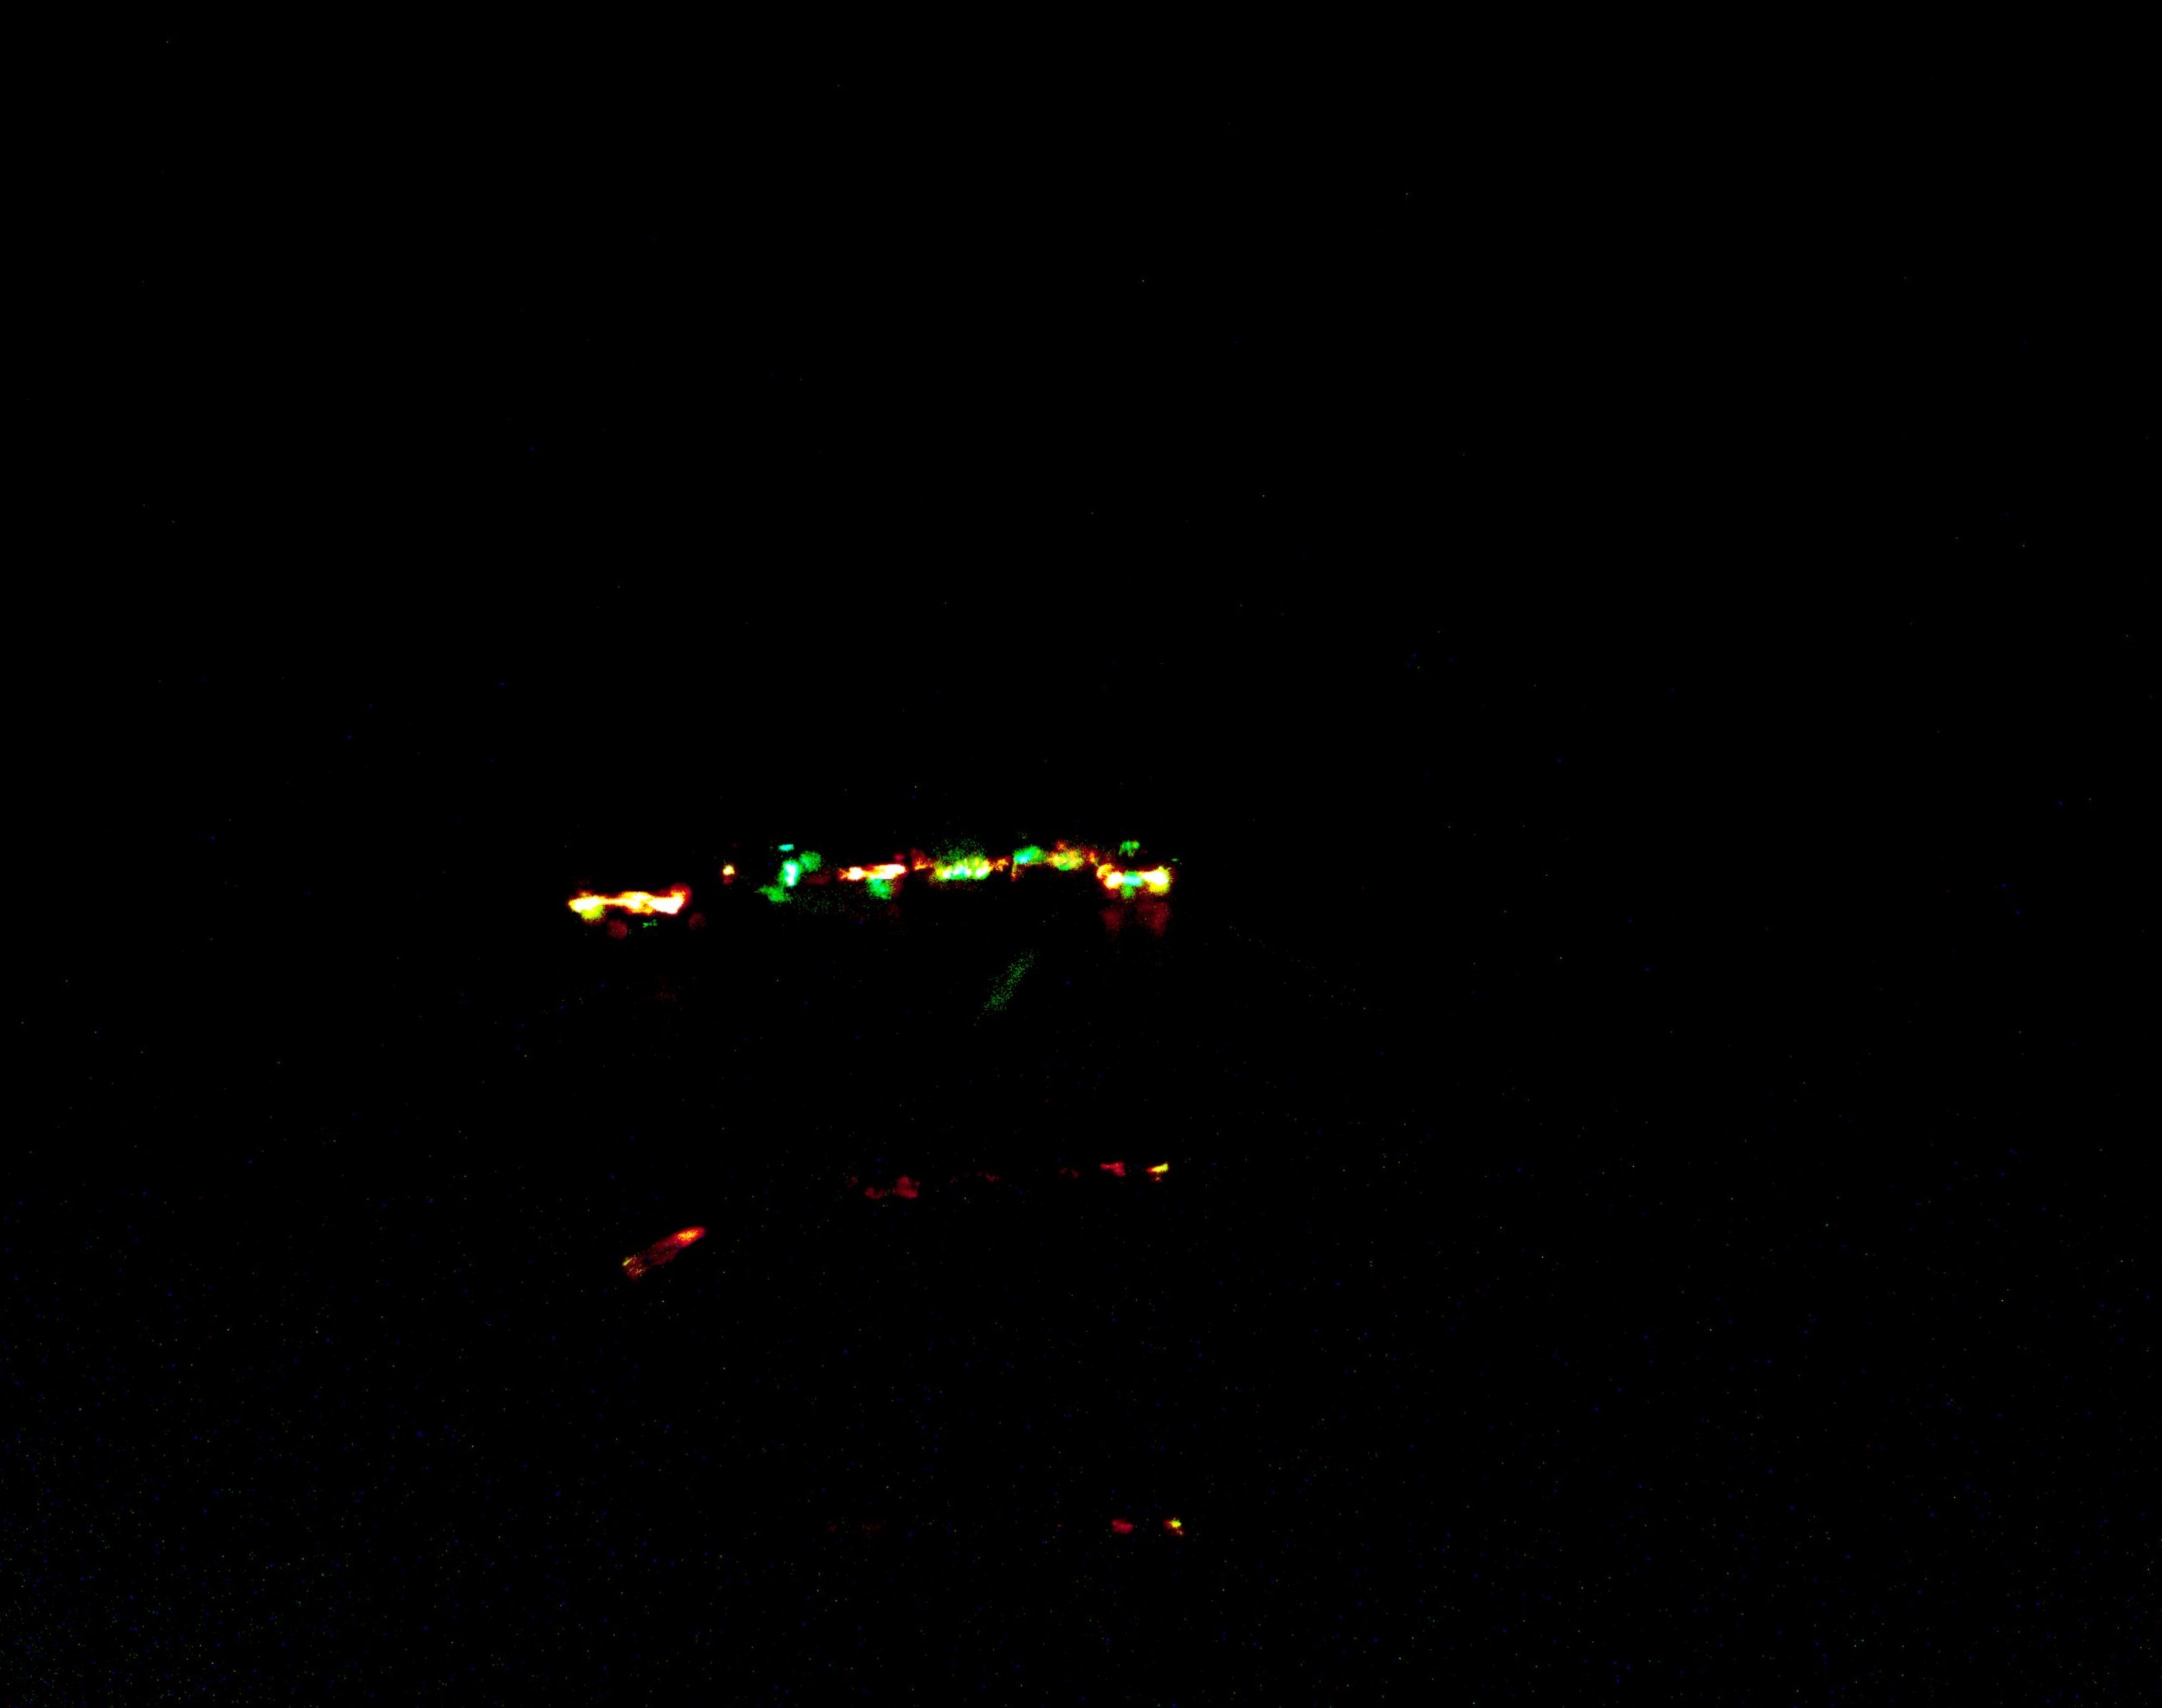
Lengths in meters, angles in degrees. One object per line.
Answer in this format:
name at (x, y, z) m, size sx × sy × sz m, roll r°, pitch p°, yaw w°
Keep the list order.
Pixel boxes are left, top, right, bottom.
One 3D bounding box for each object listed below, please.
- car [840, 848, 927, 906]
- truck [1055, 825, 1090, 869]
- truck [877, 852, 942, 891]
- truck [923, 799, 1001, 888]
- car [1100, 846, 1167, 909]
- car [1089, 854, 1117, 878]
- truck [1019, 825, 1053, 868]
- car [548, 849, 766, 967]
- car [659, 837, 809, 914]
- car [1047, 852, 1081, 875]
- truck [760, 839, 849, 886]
car at (-6.407, 0.704, 26.977) m, size 2.035 × 1.761 × 4.509 m, roll 0°, pitch 0°, yaw -4°
truck at (-1.066, -0.849, 101.914) m, size 4.150 × 5.215 × 9.948 m, roll 0°, pitch 0°, yaw -1°
truck at (-10.276, 1.029, 49.392) m, size 2.849 × 2.201 × 5.855 m, roll 0°, pitch 0°, yaw -1°
truck at (-6.847, -0.566, 48.591) m, size 3.648 × 4.737 × 9.842 m, roll 0°, pitch 0°, yaw -3°
car at (1.533, 0.664, 24.779) m, size 1.871 × 1.762 × 4.002 m, roll 0°, pitch 0°, yaw 2°
car at (1.673, 0.889, 61.711) m, size 1.986 × 1.704 × 4.460 m, roll 0°, pitch 0°, yaw 1°
truck at (-5.849, -0.969, 108.355) m, size 4.243 × 5.444 × 10.874 m, roll 0°, pitch 0°, yaw -2°
car at (-6.993, 0.771, 13.956) m, size 1.762 × 1.689 × 3.996 m, roll -1°, pitch 1°, yaw -3°
car at (-10.554, 0.581, 25.365) m, size 2.115 × 2.104 × 5.631 m, roll -1°, pitch 0°, yaw 1°
car at (-1.488, 0.862, 74.652) m, size 2.822 × 2.014 × 5.512 m, roll 0°, pitch 0°, yaw 2°
truck at (-29.802, 0.880, 89.153) m, size 3.397 × 4.558 × 17.602 m, roll 0°, pitch 0°, yaw 1°
